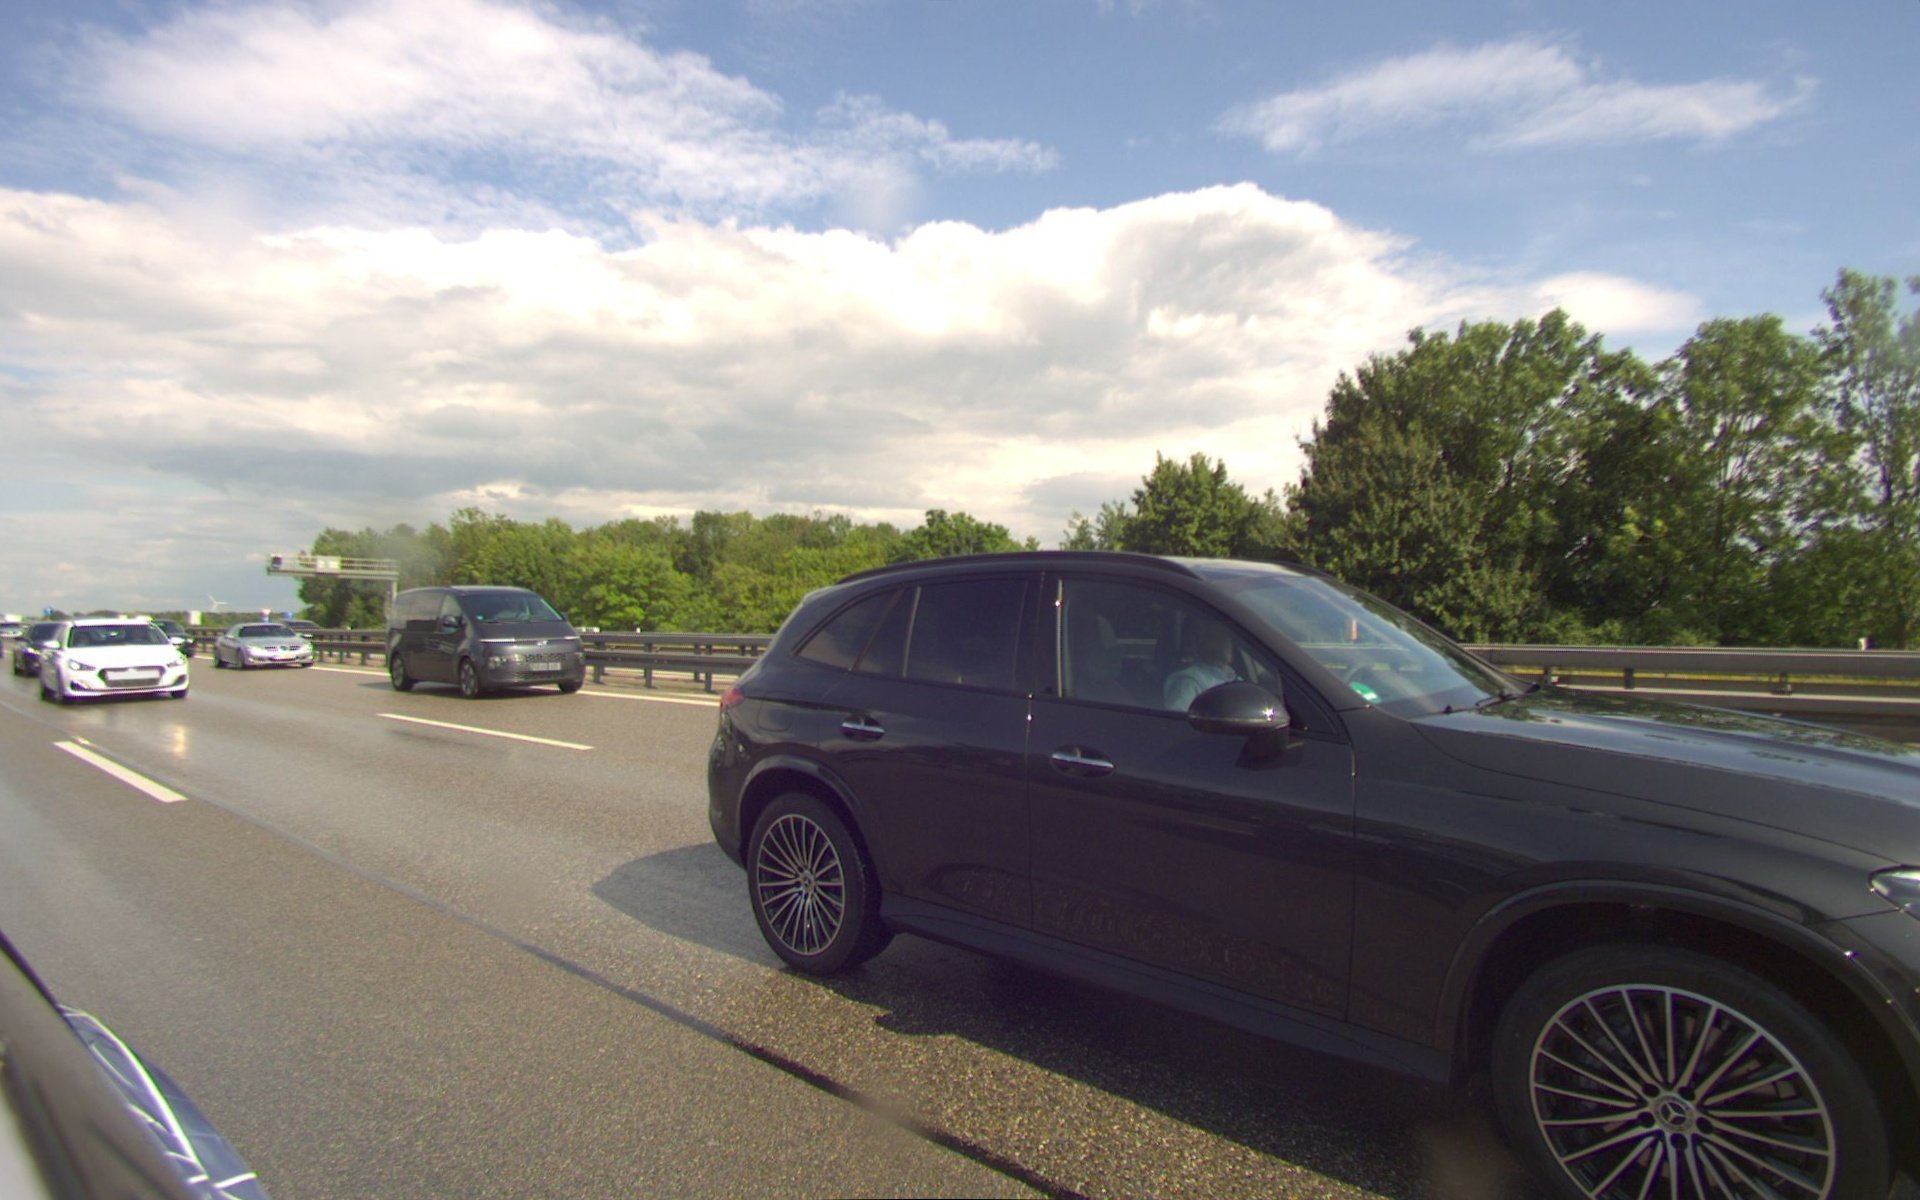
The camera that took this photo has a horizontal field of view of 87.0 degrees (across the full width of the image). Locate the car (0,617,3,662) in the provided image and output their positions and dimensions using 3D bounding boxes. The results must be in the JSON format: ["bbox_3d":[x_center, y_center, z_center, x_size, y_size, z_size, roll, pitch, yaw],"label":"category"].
[{"bbox_3d":[-38.742,1.535,39.323,3.997,1.730,1.865,-1,-1,41],"label":"car"}]

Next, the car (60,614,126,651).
[{"bbox_3d":[-42.625,1.575,49.737,3.997,1.763,1.876,-1,-1,41],"label":"car"}]

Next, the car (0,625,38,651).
[{"bbox_3d":[-68.285,2.729,73.191,3.997,1.763,1.876,-1,-1,41],"label":"car"}]

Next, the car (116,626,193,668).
[{"bbox_3d":[-29.925,1.710,37.567,3.999,1.431,1.597,-2,-1,42],"label":"car"}]

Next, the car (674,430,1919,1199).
[{"bbox_3d":[1.062,0.571,3.647,4.625,1.692,1.856,-1,-1,42],"label":"car"}]

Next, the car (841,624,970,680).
[{"bbox_3d":[-1.764,1.591,31.816,3.999,1.604,1.714,-1,-1,42],"label":"car"}]

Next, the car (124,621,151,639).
[{"bbox_3d":[-96.744,3.494,119.056,4.365,2.029,1.971,-1,-1,45],"label":"car"}]

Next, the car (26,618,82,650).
[{"bbox_3d":[-51.827,1.931,57.894,3.997,1.763,1.876,-1,-1,41],"label":"car"}]

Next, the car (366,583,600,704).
[{"bbox_3d":[-8.895,0.744,18.627,5.233,1.932,1.973,-1,-1,41],"label":"car"}]

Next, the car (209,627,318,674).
[{"bbox_3d":[-19.759,1.395,28.666,3.583,1.198,1.832,-1,-1,43],"label":"car"}]

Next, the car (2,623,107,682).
[{"bbox_3d":[-23.725,1.330,26.479,3.998,1.409,1.577,-1,-1,41],"label":"car"}]

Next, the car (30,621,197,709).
[{"bbox_3d":[-15.414,1.098,18.348,4.239,1.408,1.785,-1,-1,42],"label":"car"}]

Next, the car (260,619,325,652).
[{"bbox_3d":[-33.804,1.781,51.219,3.998,1.556,1.781,-1,-1,41],"label":"car"}]
